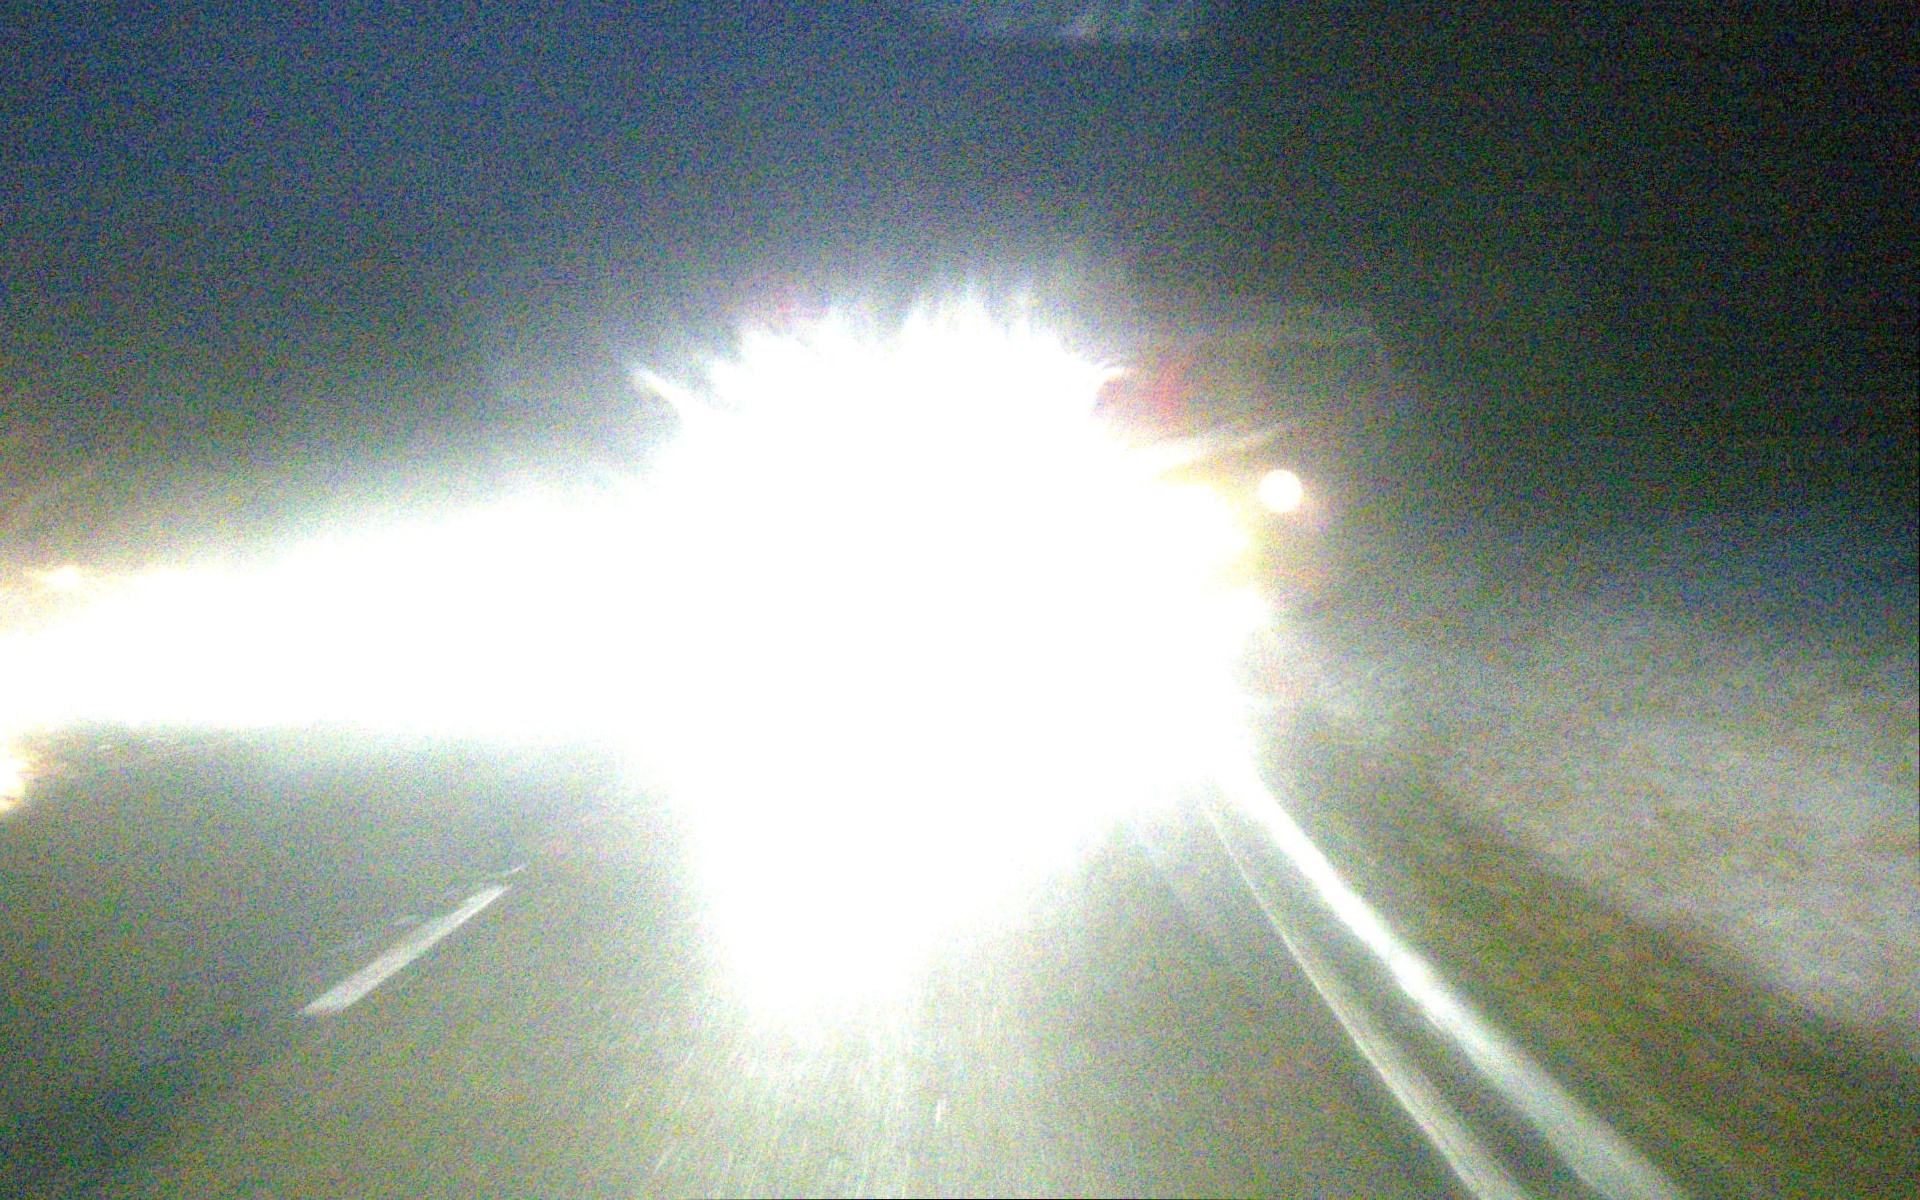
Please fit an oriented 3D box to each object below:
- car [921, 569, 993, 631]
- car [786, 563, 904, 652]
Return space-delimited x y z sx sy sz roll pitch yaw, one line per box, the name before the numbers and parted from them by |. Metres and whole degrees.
car | -0.065 -0.012 96.936 1.781 1.661 4.471 0 1 3
car | -1.879 0.099 57.113 1.740 1.397 3.861 0 1 1
